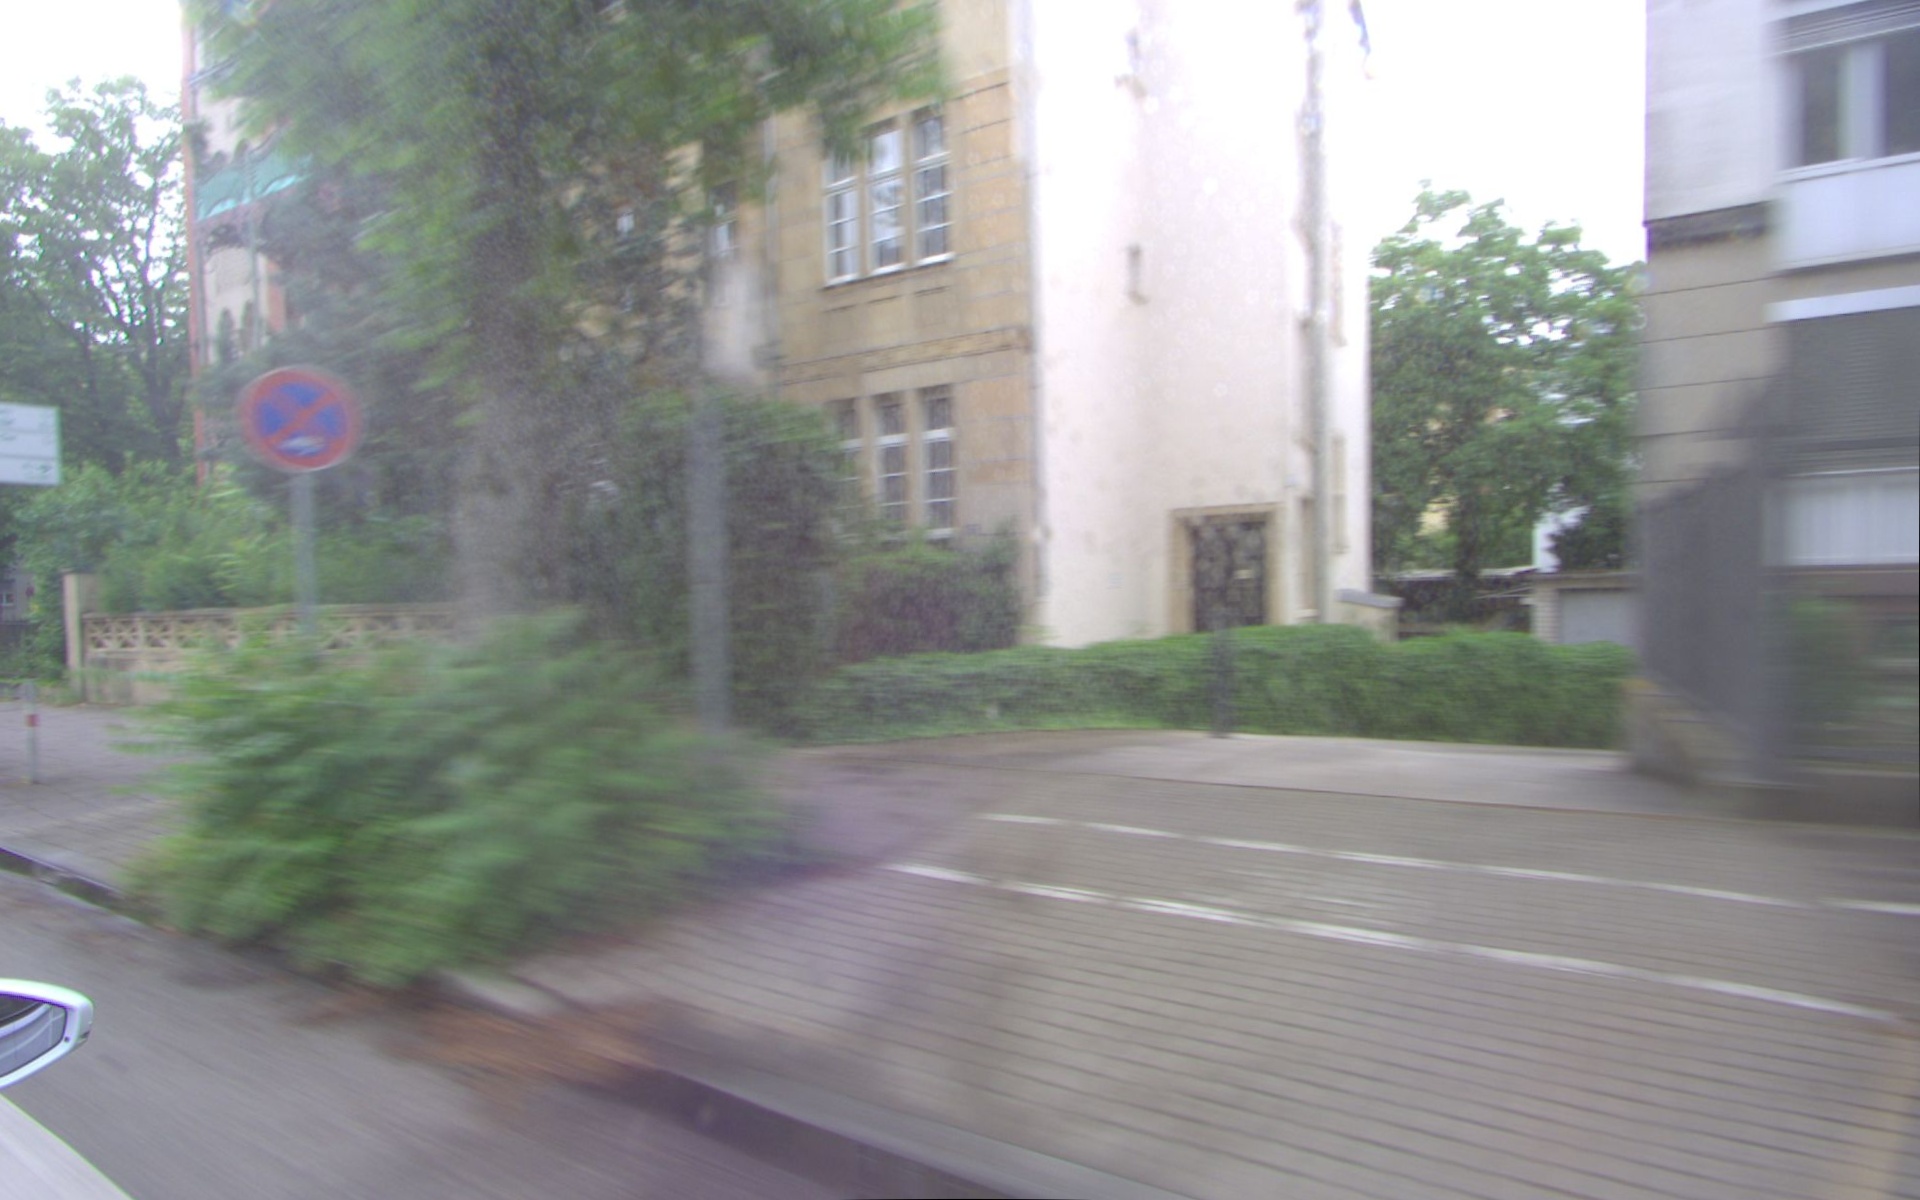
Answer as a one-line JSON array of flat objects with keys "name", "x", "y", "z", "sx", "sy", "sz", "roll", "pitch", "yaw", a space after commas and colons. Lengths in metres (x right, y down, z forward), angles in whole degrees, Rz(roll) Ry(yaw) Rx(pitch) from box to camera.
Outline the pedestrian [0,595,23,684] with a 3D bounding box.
[{"name": "pedestrian", "x": -20.486, "y": 0.834, "z": 21.102, "sx": 0.785, "sy": 1.856, "sz": 0.652, "roll": -2, "pitch": 1, "yaw": -12}]
